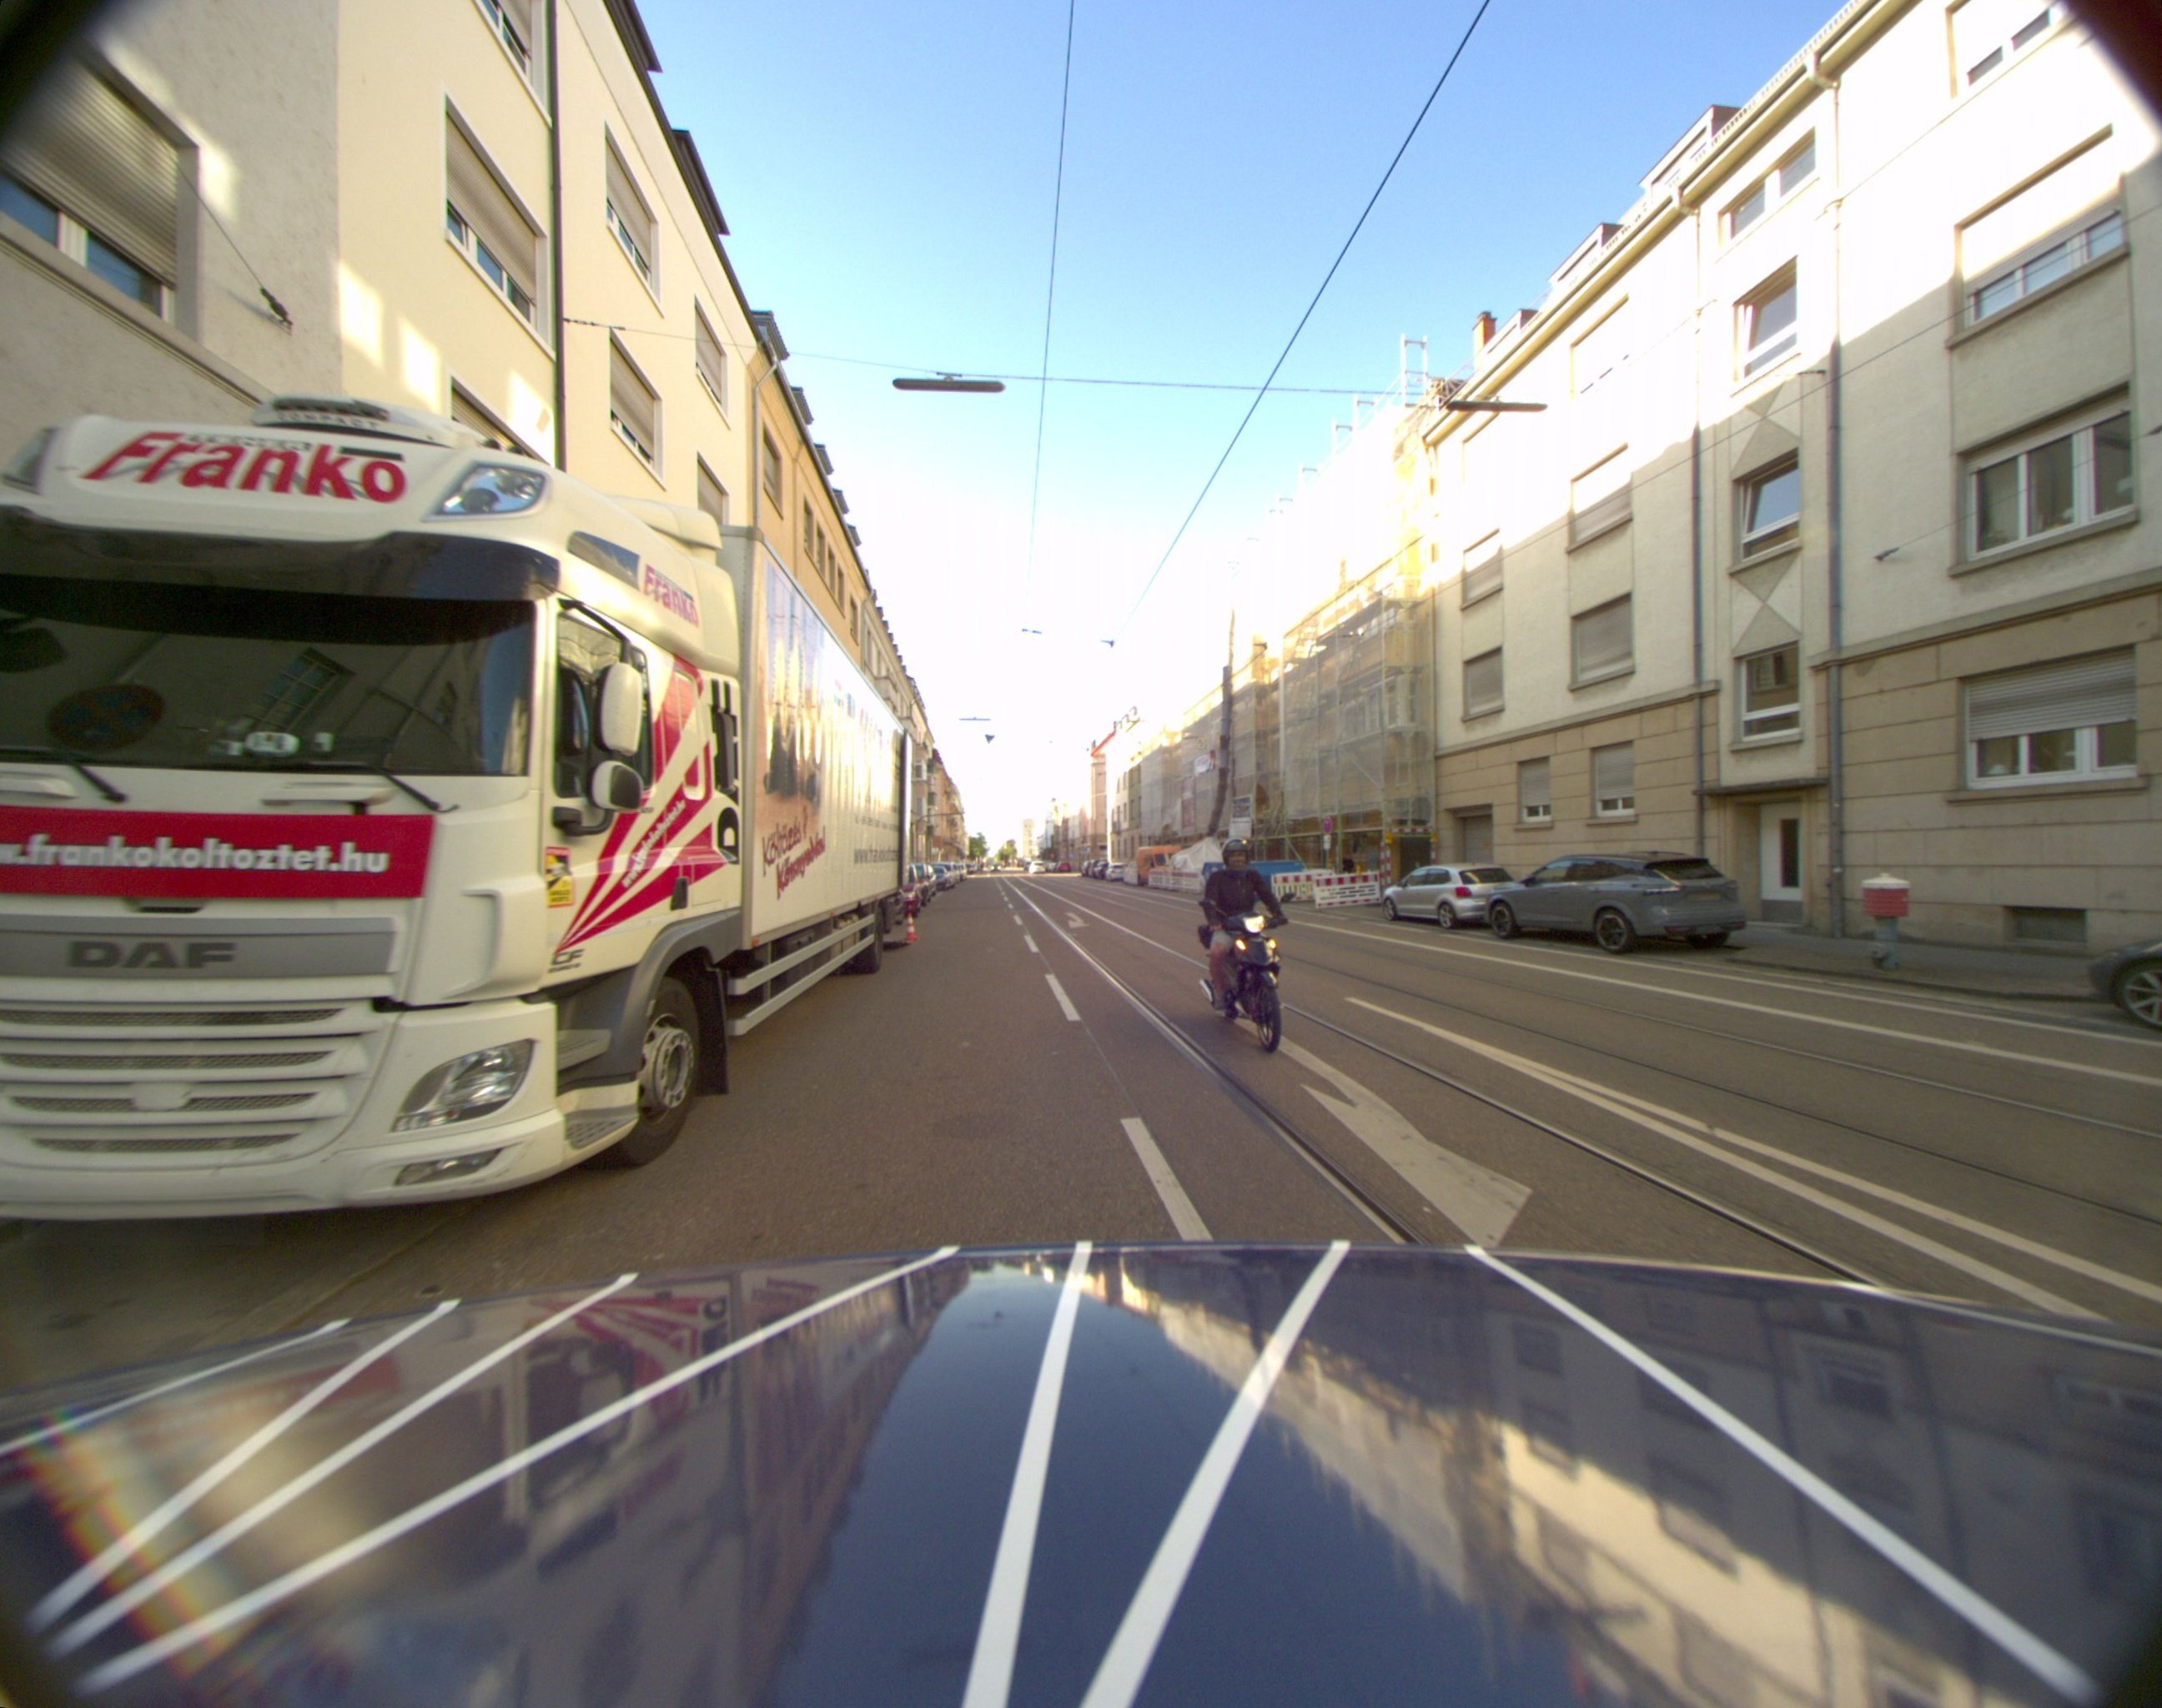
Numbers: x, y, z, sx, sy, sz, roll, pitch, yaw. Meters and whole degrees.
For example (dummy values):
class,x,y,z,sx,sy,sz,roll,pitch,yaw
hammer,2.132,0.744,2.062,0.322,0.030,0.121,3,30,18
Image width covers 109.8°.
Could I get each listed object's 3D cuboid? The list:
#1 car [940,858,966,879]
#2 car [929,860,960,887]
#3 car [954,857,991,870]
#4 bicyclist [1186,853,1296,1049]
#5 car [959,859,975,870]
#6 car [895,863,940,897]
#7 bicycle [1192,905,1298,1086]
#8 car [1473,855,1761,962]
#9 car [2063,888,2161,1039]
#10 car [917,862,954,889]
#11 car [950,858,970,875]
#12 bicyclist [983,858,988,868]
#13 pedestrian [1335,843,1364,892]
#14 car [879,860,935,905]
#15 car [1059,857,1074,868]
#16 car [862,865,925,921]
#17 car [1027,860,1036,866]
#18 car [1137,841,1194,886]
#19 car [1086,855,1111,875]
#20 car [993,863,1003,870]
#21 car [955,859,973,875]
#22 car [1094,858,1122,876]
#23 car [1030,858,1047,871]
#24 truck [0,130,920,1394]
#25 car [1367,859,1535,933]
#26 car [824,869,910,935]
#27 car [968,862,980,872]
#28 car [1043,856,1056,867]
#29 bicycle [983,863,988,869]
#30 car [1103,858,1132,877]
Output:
class,x,y,z,sx,sy,sz,roll,pitch,yaw
car,-10.489,1.174,62.375,1.704,1.688,4.186,1,0,-4
car,-9.015,1.254,50.449,1.714,1.683,4.587,0,0,-7
car,-13.422,1.202,94.032,4.284,1.598,1.775,0,0,17
bicyclist,1.341,0.771,6.479,0.843,1.545,0.850,-1,0,9
car,-15.456,1.456,103.464,2.000,1.411,3.725,0,0,-6
car,-7.446,1.160,34.817,1.613,1.454,3.478,0,0,-6
bicycle,1.345,1.083,6.472,0.740,1.170,1.975,-1,0,10
car,9.196,0.823,13.594,1.704,1.558,4.403,-1,0,-6
car,10.289,0.954,5.349,1.705,1.209,3.782,-3,1,-8
car,-8.414,1.227,44.237,1.704,1.443,4.204,0,0,-5
car,-11.618,1.178,73.098,1.704,1.581,3.958,-1,0,-7
bicyclist,-14.596,1.348,116.610,0.744,1.481,0.815,-1,0,-7
pedestrian,9.573,0.484,27.109,0.718,1.684,0.581,-3,1,-28
car,-6.794,1.066,30.099,1.795,1.642,4.363,0,0,-8
car,-2.119,1.218,110.219,1.799,1.494,3.767,-3,0,-8
car,-5.872,1.160,24.207,1.597,1.599,4.243,0,0,-9
car,-11.892,2.183,182.692,1.799,1.494,3.767,-3,0,-8
car,4.897,0.535,45.240,2.126,2.454,5.997,0,0,-6
car,1.740,1.019,74.878,1.799,1.835,3.767,-3,0,-8
car,-16.345,2.417,149.621,1.860,1.369,3.998,-1,0,-4
car,-12.265,1.355,79.860,1.704,1.581,3.353,3,0,-6
car,2.421,1.145,68.959,1.703,1.569,4.220,-3,0,-8
car,-5.496,1.354,97.946,1.826,1.559,4.198,-2,0,-9
truck,-3.921,-0.257,8.303,2.868,4.049,11.772,0,0,-5
car,8.693,0.917,18.269,1.704,1.407,3.997,-4,1,-6
car,-5.344,1.142,19.410,1.587,1.455,3.878,0,0,-8
car,-18.812,2.298,133.261,2.000,1.630,3.998,0,0,-6
car,-5.868,1.386,140.495,2.000,2.002,3.997,0,0,-7
bicycle,-14.593,1.871,116.497,0.744,0.850,1.885,-1,0,-7
car,2.998,1.076,63.021,1.752,1.502,3.998,0,0,-6
